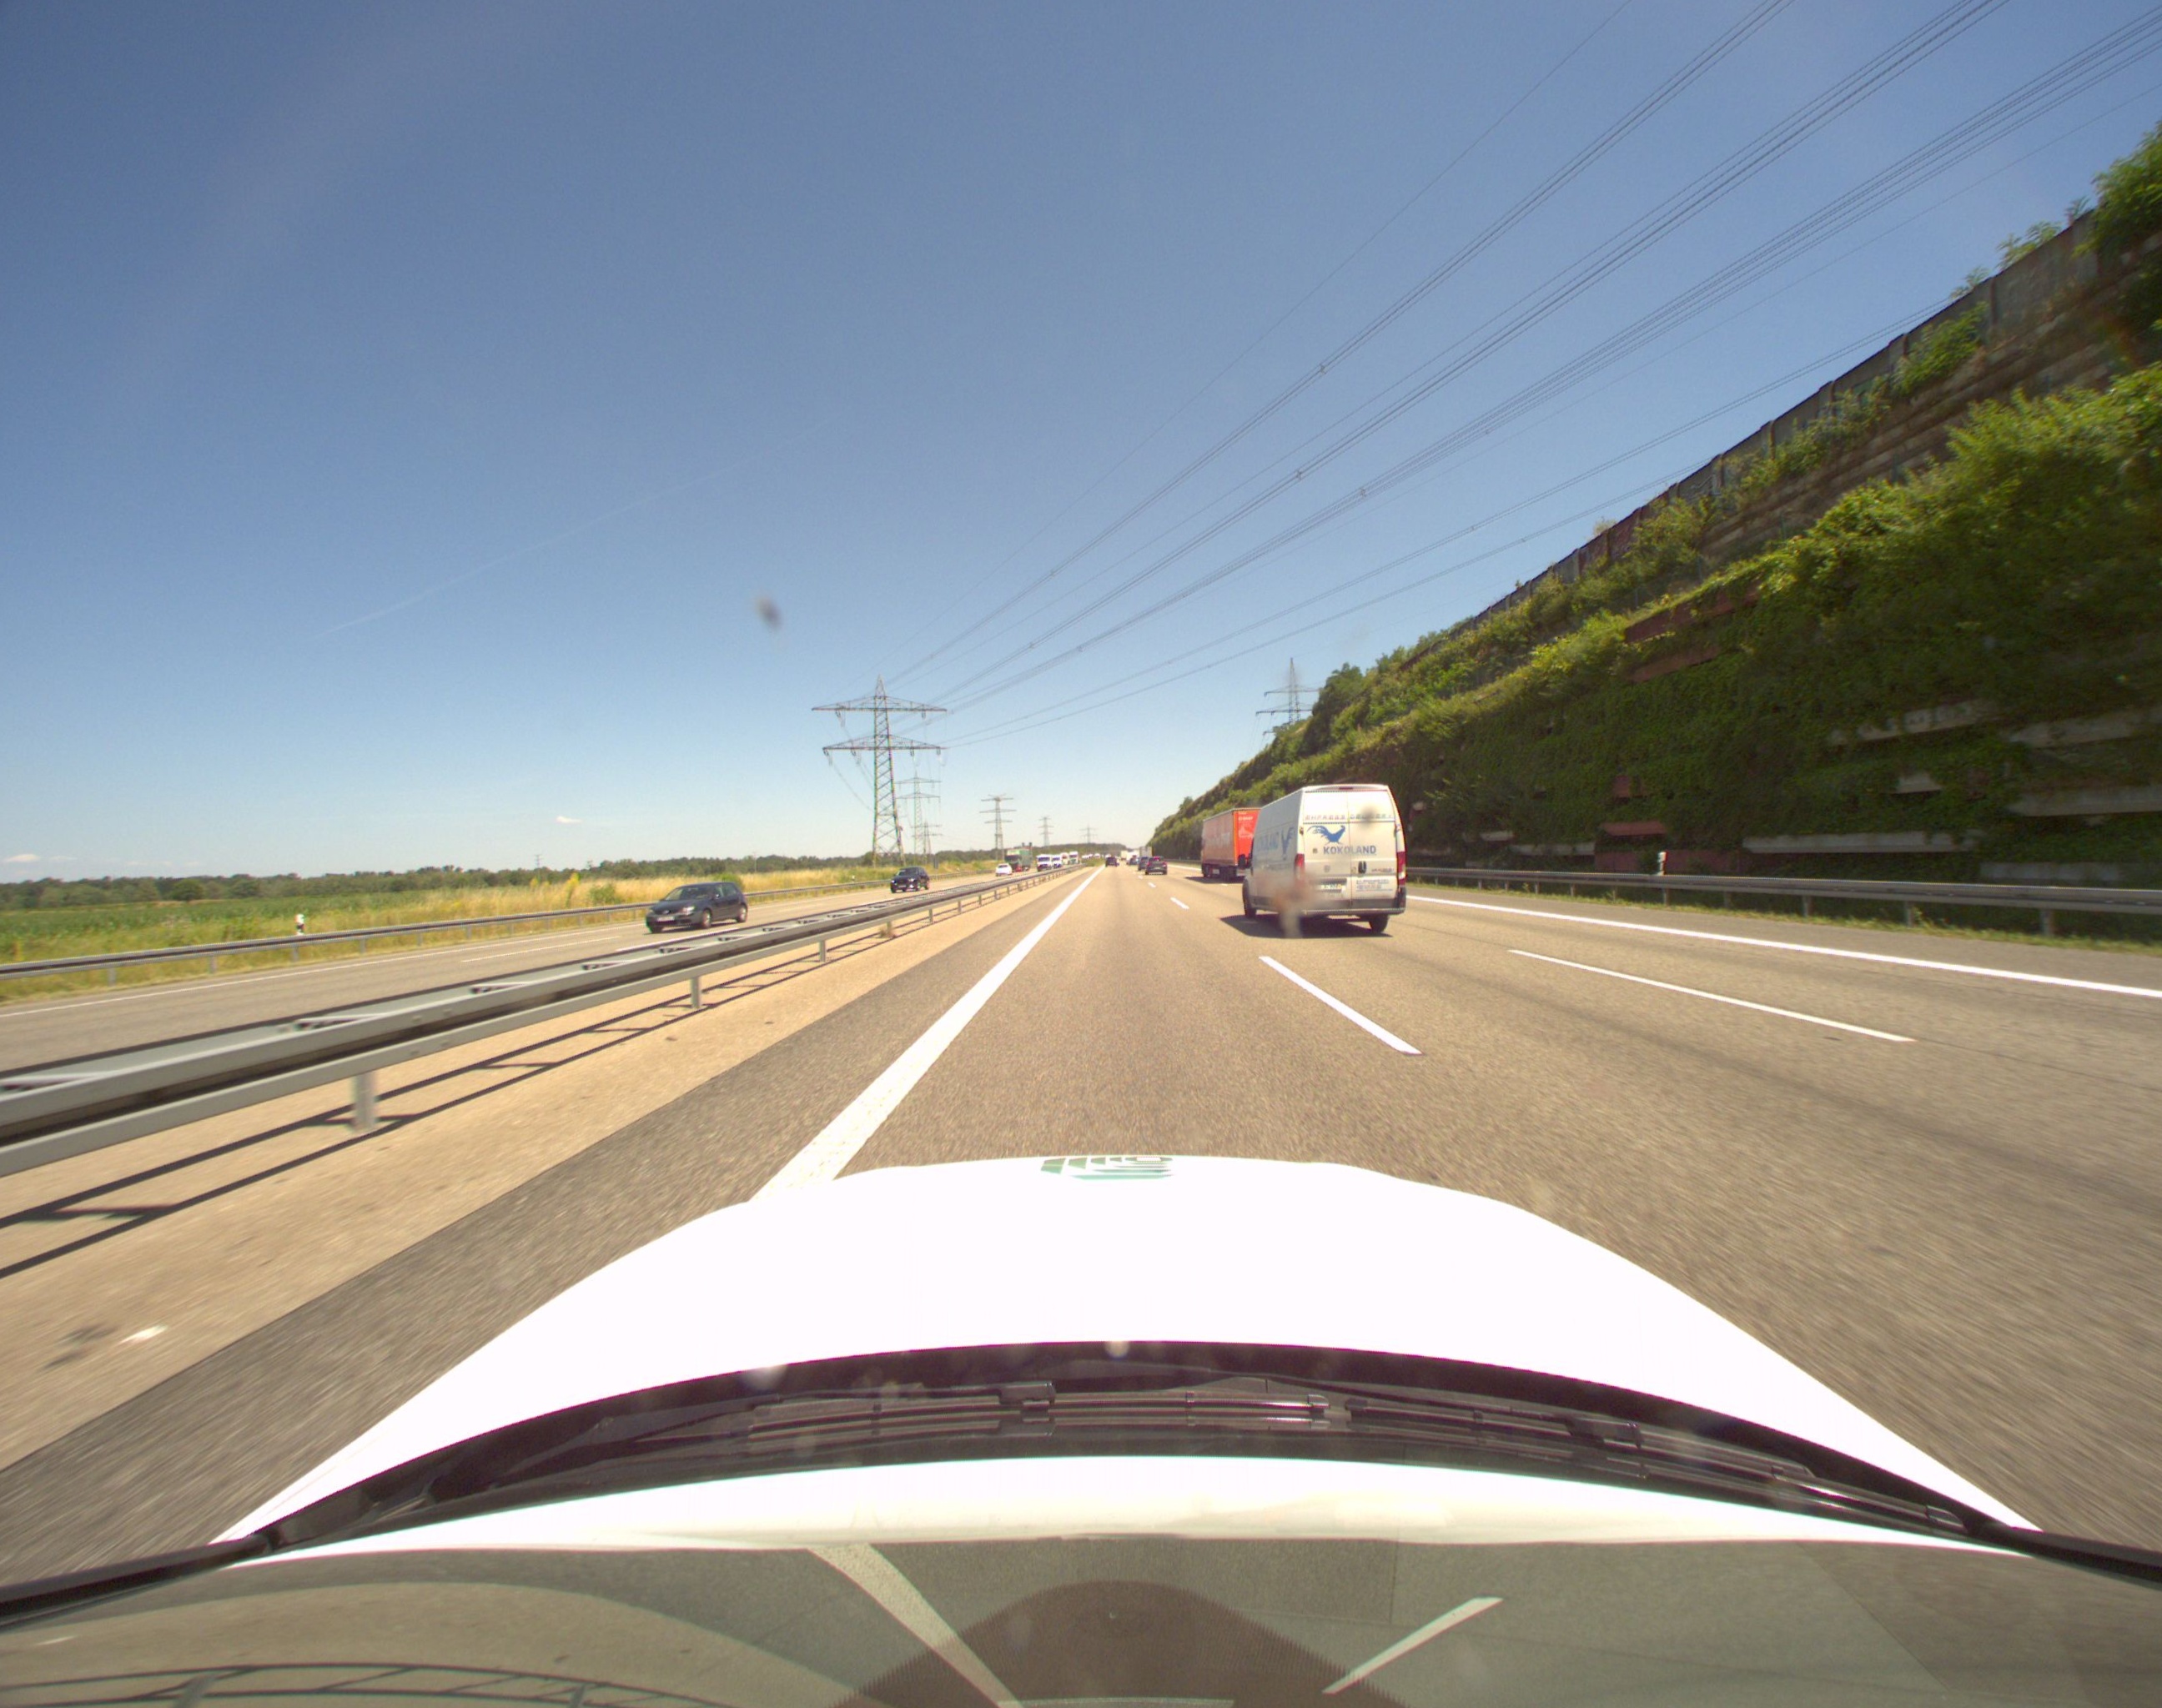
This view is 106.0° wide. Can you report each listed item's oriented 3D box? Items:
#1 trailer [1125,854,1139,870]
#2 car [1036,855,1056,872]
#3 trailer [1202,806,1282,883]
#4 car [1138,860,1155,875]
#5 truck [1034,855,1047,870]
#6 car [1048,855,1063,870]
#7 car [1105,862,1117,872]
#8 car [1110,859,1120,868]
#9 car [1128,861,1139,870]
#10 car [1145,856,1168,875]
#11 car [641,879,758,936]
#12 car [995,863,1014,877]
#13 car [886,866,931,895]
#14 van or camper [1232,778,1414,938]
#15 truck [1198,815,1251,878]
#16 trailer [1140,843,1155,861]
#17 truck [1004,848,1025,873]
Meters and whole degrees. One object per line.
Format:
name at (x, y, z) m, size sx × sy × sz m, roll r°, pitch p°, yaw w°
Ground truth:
trailer at (10.694, 1.725, 171.188) m, size 2.600 × 3.213 × 9.957 m, roll -3°, pitch -1°, yaw 2°
car at (-4.850, 1.313, 113.309) m, size 2.101 × 2.298 × 6.709 m, roll -3°, pitch 0°, yaw 2°
trailer at (9.493, -0.470, 49.664) m, size 2.634 × 4.005 × 13.613 m, roll -1°, pitch 0°, yaw 2°
car at (7.305, 1.482, 91.042) m, size 1.787 × 1.653 × 4.140 m, roll -2°, pitch 0°, yaw 3°
truck at (-9.750, 1.972, 197.780) m, size 2.473 × 3.378 × 6.215 m, roll -3°, pitch 0°, yaw 2°
car at (-4.385, 1.480, 139.632) m, size 2.040 × 2.438 × 6.071 m, roll -4°, pitch 0°, yaw 1°
car at (5.027, 2.145, 136.344) m, size 1.823 × 1.670 × 4.002 m, roll -3°, pitch -1°, yaw 2°
car at (6.427, 1.743, 155.015) m, size 1.823 × 1.670 × 4.002 m, roll -3°, pitch -1°, yaw 2°
car at (9.380, 2.072, 146.405) m, size 1.822 × 1.525 × 4.003 m, roll -3°, pitch -1°, yaw 3°
car at (6.482, 1.002, 70.378) m, size 1.742 × 1.525 × 3.997 m, roll -2°, pitch -1°, yaw 2°
car at (-12.264, 1.663, 26.509) m, size 1.612 × 1.460 × 4.284 m, roll -5°, pitch 0°, yaw 0°
car at (-9.795, 2.025, 104.555) m, size 1.701 × 1.524 × 4.516 m, roll -5°, pitch -1°, yaw 2°
car at (-11.535, 1.747, 54.805) m, size 1.834 × 1.629 × 4.415 m, roll -5°, pitch 0°, yaw 2°
van or camper at (4.900, 0.086, 17.791) m, size 2.089 × 2.769 × 6.759 m, roll -2°, pitch 0°, yaw 2°
truck at (9.816, -0.485, 56.308) m, size 2.607 × 3.992 × 6.530 m, roll -2°, pitch 0°, yaw 2°
trailer at (16.449, -0.420, 202.776) m, size 3.170 × 4.121 × 13.440 m, roll -3°, pitch -1°, yaw 3°
truck at (-11.715, 1.198, 143.927) m, size 2.689 × 4.134 × 6.583 m, roll -3°, pitch 0°, yaw 2°
